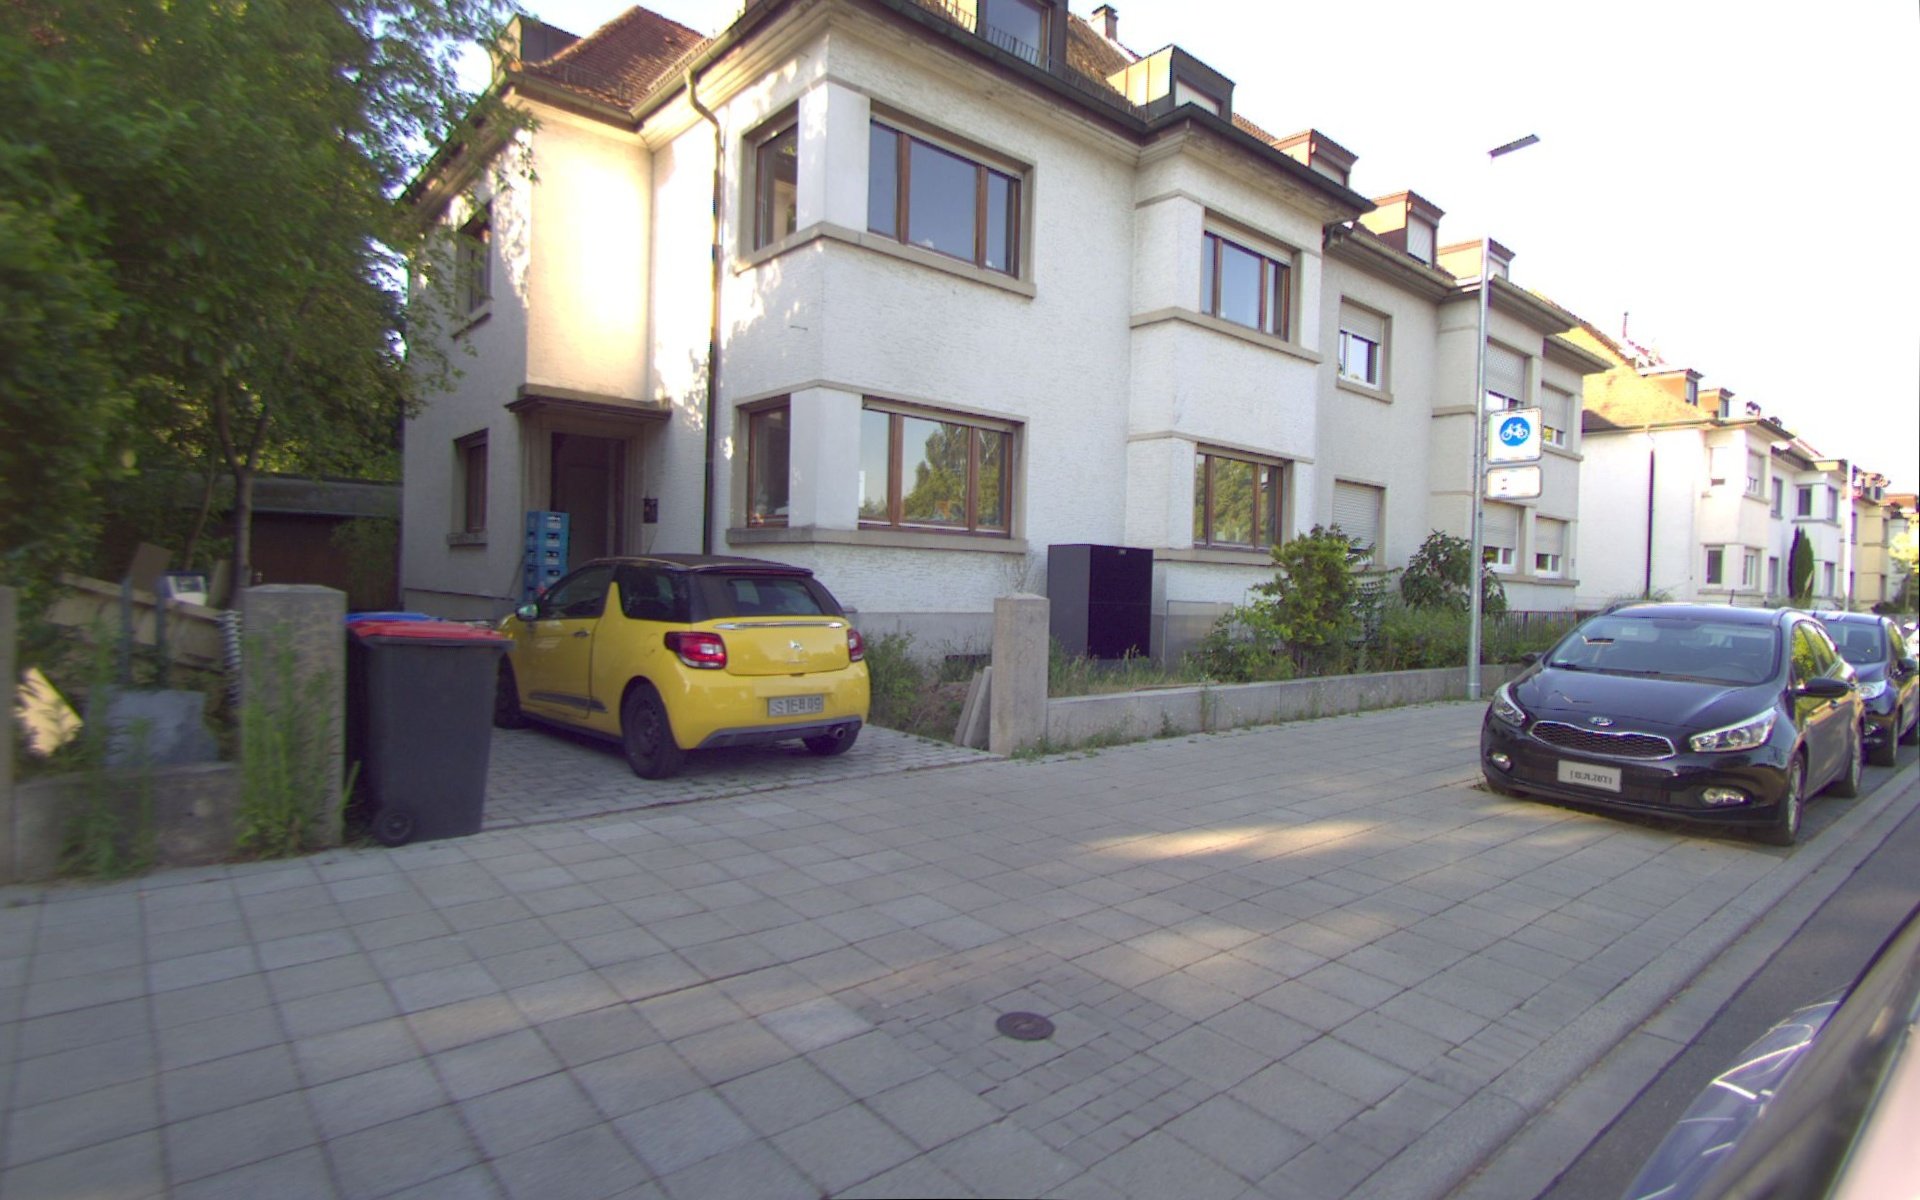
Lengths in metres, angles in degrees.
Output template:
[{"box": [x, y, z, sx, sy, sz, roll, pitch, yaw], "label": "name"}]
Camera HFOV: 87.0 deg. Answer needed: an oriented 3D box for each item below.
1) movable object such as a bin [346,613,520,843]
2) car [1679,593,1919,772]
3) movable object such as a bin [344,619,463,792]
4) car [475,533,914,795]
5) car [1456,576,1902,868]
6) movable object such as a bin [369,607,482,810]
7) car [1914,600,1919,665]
[{"box": [-2.680, 0.606, 5.155, 0.507, 1.056, 0.648, 1, 0, 44], "label": "movable object such as a bin"}, {"box": [9.422, 0.738, 11.002, 3.915, 1.489, 1.722, 0, 4, -42], "label": "car"}, {"box": [-3.359, 0.607, 6.105, 0.507, 0.956, 0.494, 1, 0, 44], "label": "movable object such as a bin"}, {"box": [-2.228, 0.293, 7.901, 1.752, 1.514, 3.638, 0, 3, -44], "label": "car"}, {"box": [5.490, 0.649, 7.503, 4.182, 1.492, 1.750, 0, 3, -42], "label": "car"}, {"box": [-2.985, 0.573, 5.650, 0.507, 1.056, 0.410, 1, 0, 44], "label": "movable object such as a bin"}, {"box": [23.554, 0.755, 23.367, 4.160, 1.525, 1.786, 0, 4, -42], "label": "car"}]
